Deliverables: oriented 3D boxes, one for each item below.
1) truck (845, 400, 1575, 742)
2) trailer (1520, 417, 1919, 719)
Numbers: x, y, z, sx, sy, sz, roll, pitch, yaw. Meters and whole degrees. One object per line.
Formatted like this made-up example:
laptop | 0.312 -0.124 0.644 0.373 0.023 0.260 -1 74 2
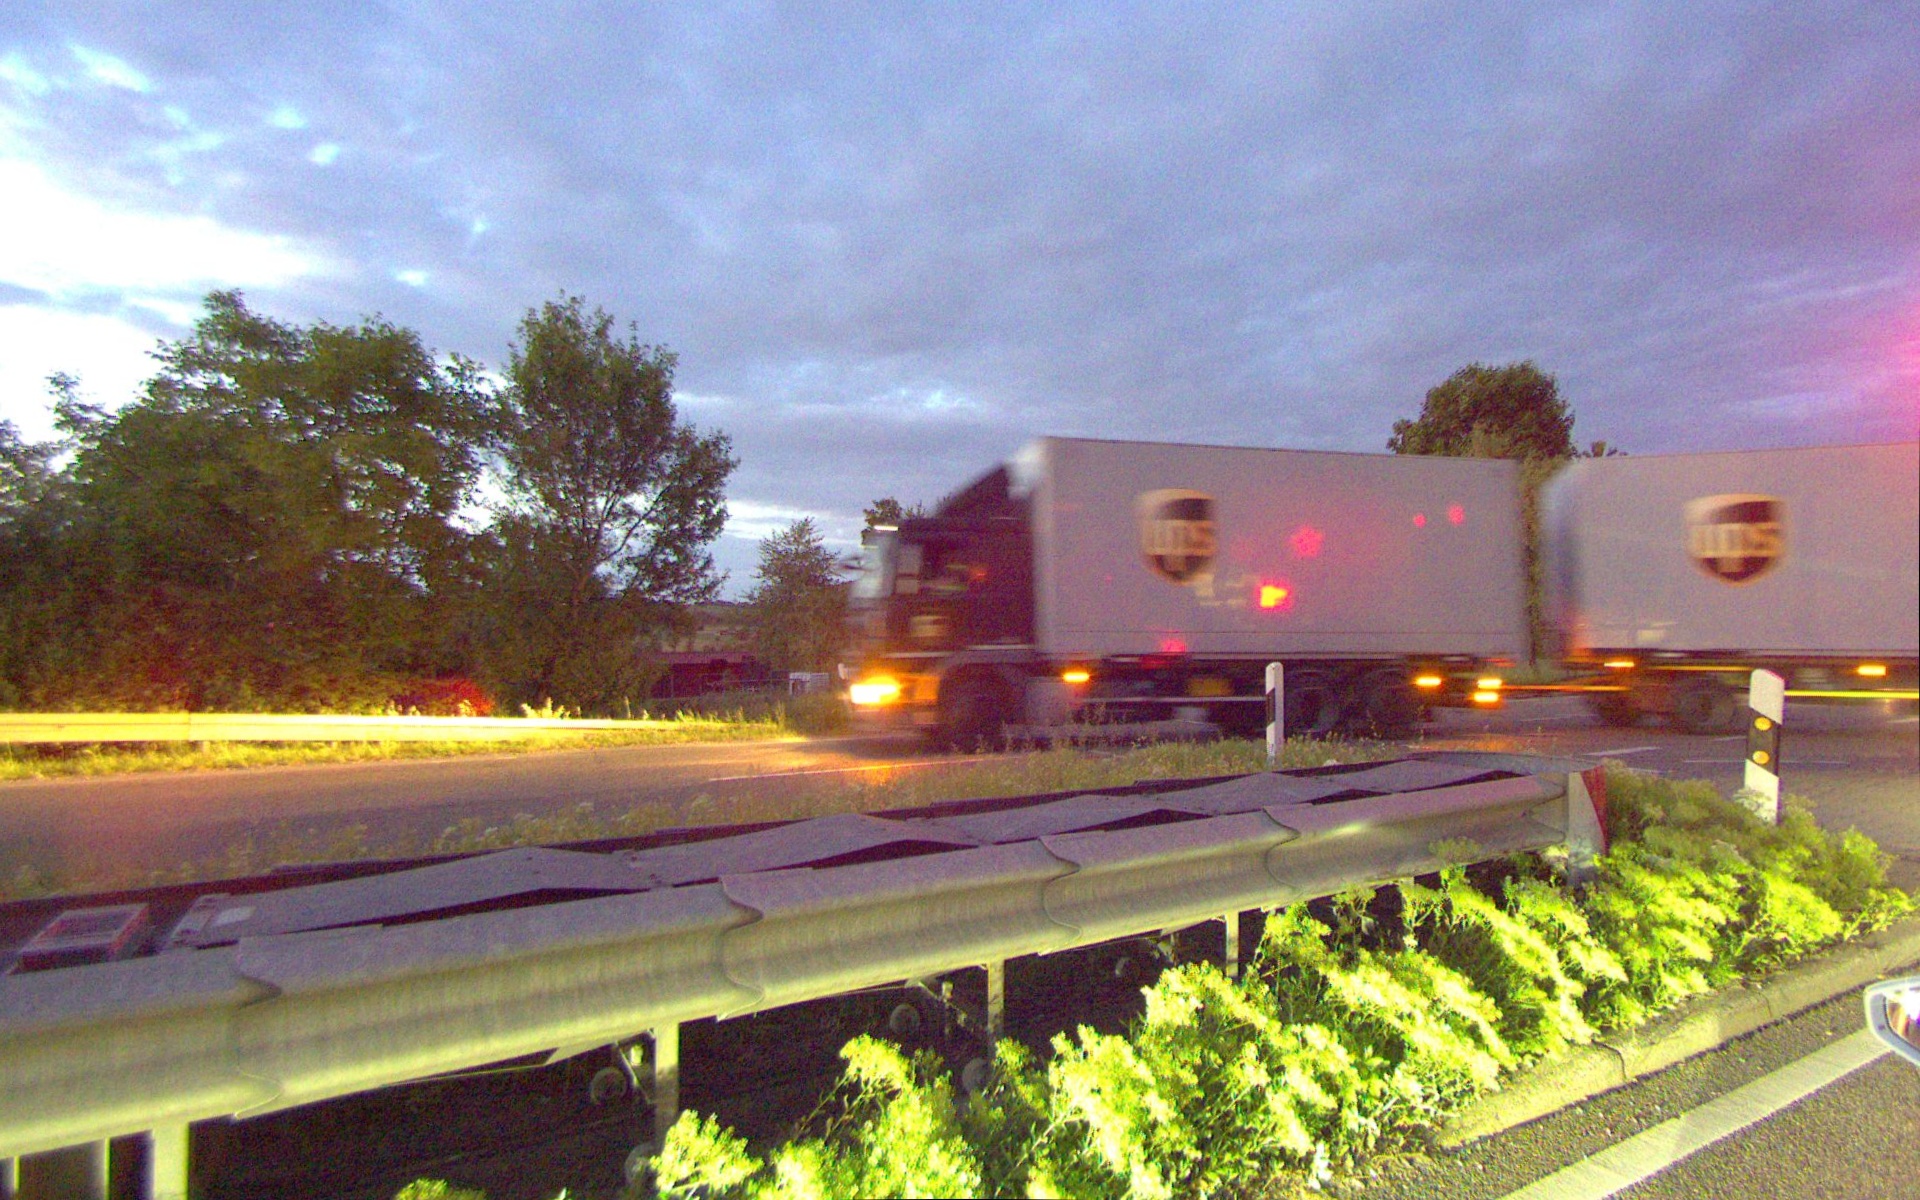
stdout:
truck | 3.563 -0.216 14.648 10.165 4.172 2.729 1 -1 -12
trailer | 13.232 -0.387 14.456 8.705 3.995 2.584 -1 -2 22
